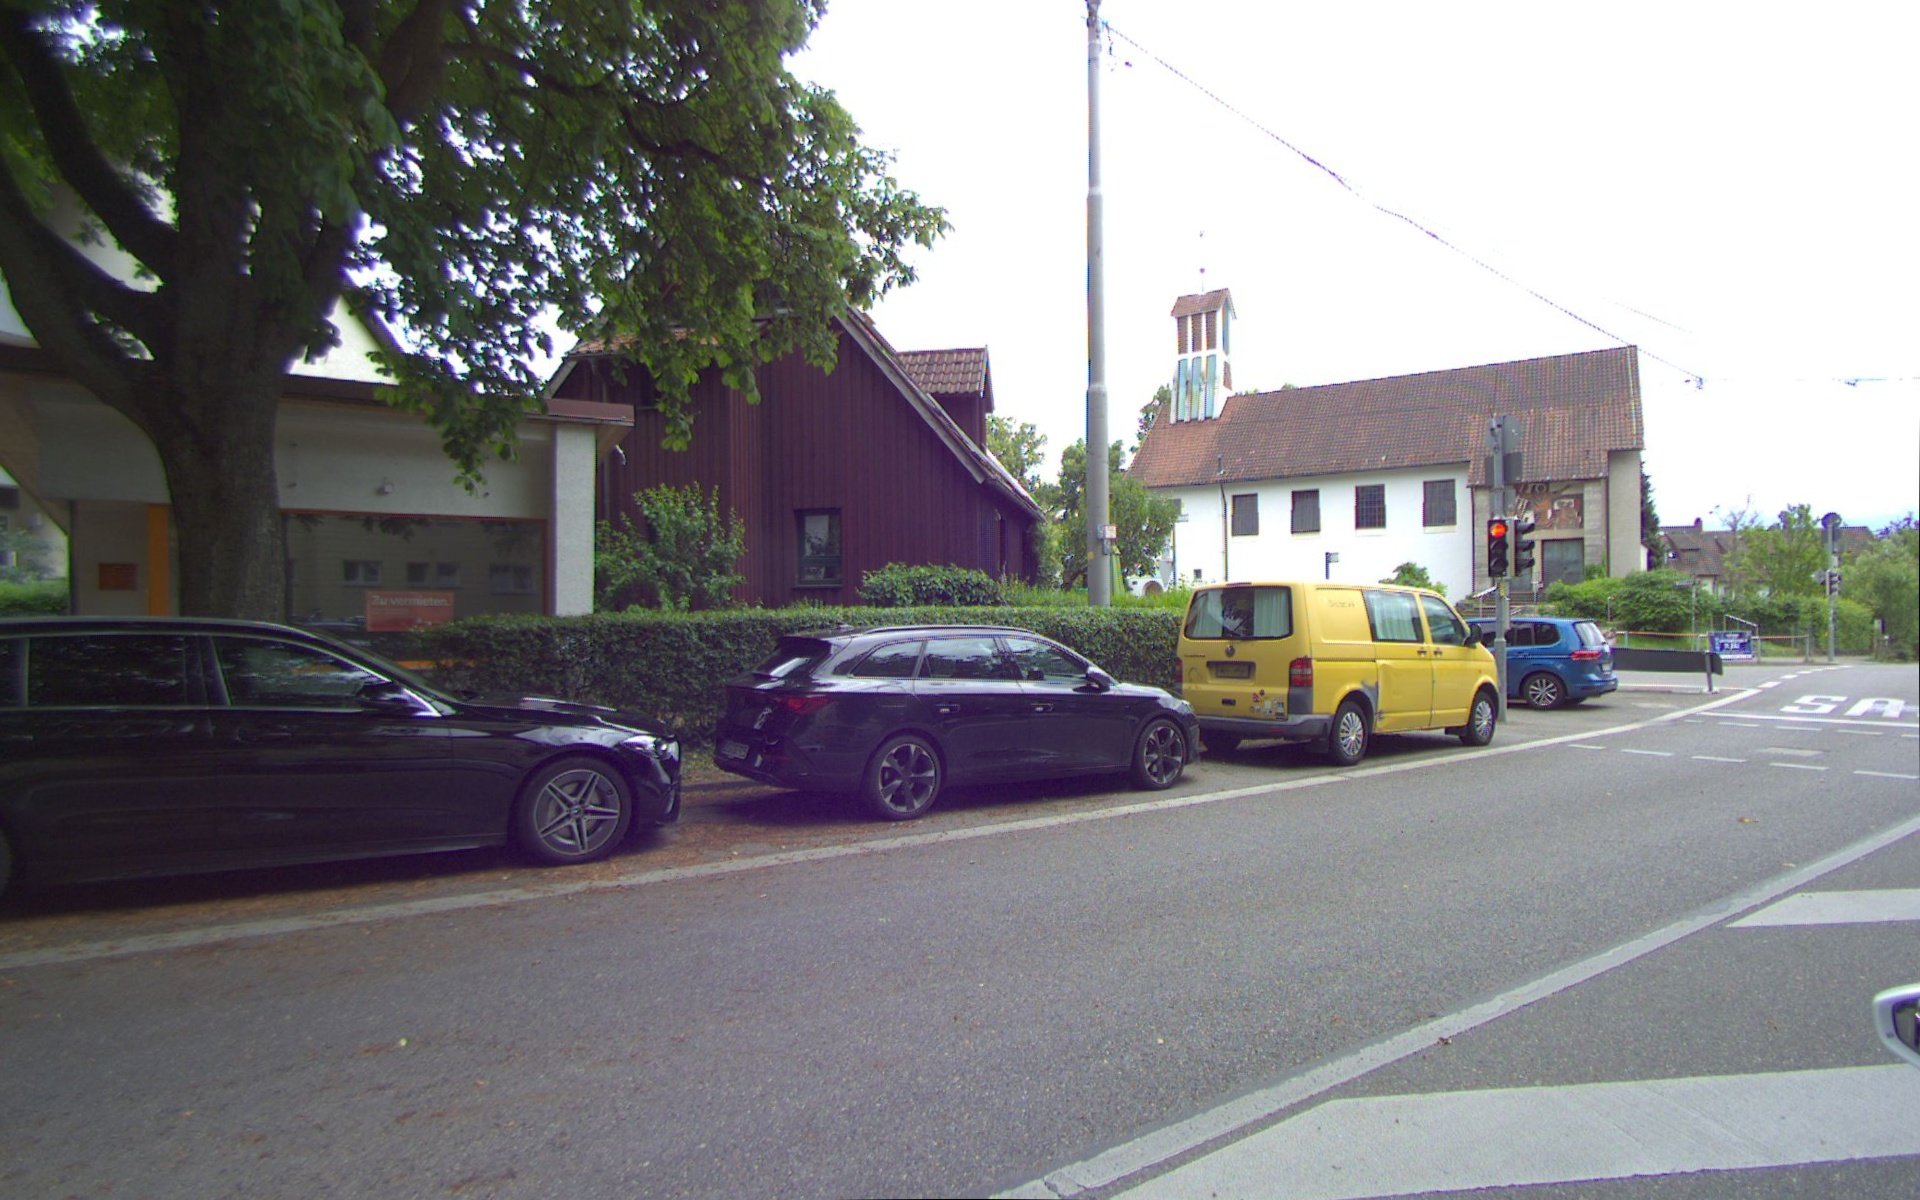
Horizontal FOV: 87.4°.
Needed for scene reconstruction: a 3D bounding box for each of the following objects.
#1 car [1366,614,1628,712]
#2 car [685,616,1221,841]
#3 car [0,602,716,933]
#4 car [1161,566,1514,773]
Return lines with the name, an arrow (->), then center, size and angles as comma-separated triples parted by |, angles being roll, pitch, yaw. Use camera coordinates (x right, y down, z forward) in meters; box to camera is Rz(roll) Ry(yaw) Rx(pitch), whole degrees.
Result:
car -> 9.932, 1.129, 18.764 | 1.806, 1.632, 3.947 | 2, -3, -45
car -> 0.089, 0.917, 8.711 | 4.495, 1.505, 1.680 | 1, -2, -34
car -> -3.994, 0.814, 6.039 | 4.562, 1.520, 1.984 | 1, -2, -31
car -> 4.633, 0.744, 12.040 | 4.524, 2.040, 1.870 | 1, -2, -38
